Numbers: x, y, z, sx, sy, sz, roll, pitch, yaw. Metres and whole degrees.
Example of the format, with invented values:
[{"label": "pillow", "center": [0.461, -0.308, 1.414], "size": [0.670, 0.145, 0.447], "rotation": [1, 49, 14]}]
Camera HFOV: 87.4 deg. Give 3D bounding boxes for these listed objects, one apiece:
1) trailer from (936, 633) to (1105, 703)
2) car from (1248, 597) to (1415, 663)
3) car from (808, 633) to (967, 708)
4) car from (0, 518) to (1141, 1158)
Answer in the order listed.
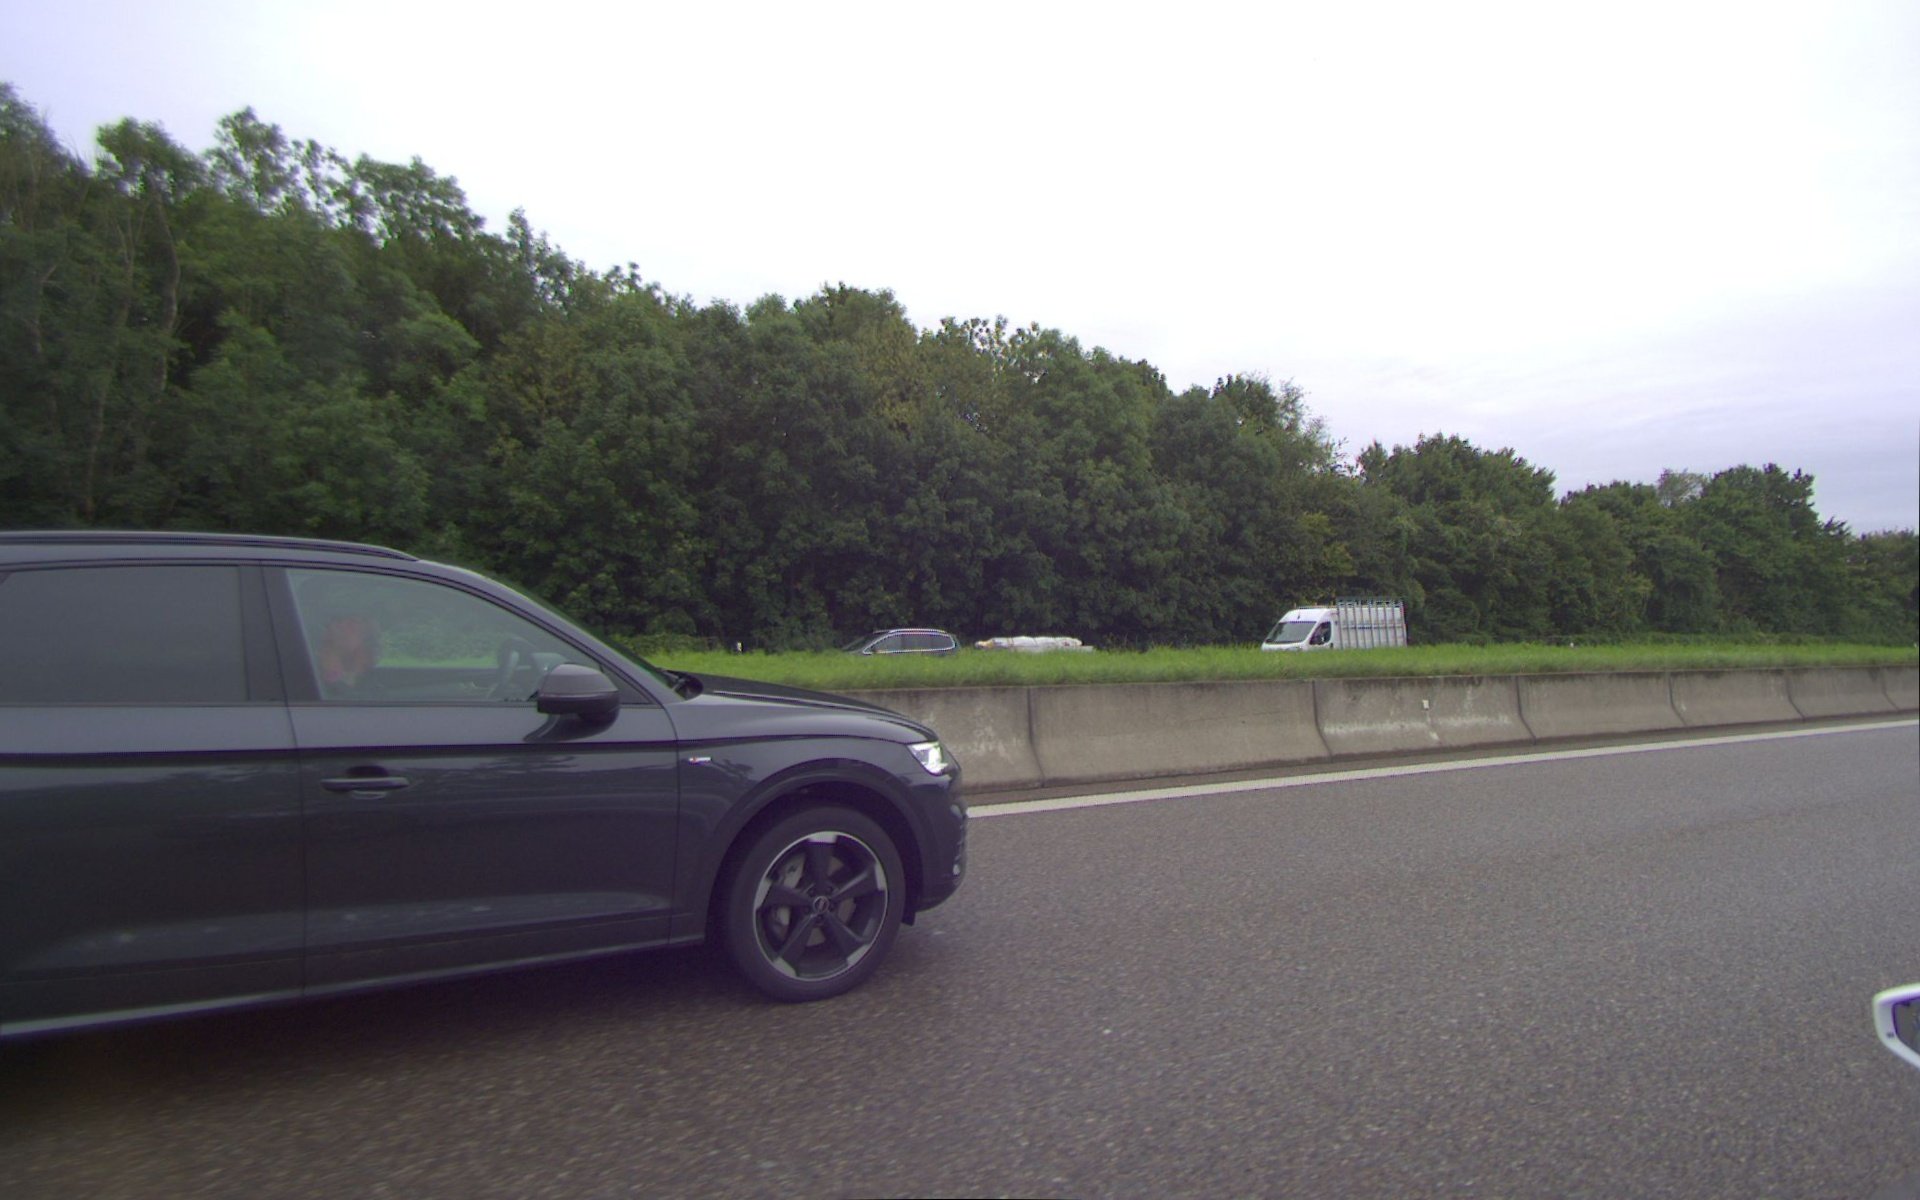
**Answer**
[{"label": "trailer", "center": [1.973, 2.142, 32.360], "size": [5.112, 2.040, 1.985], "rotation": [2, 0, -28]}, {"label": "car", "center": [13.056, 1.058, 35.143], "size": [5.996, 2.112, 2.185], "rotation": [2, 0, -31]}, {"label": "car", "center": [-2.160, 2.073, 30.109], "size": [4.314, 2.040, 1.984], "rotation": [2, 0, -30]}, {"label": "car", "center": [-1.890, 0.627, 4.002], "size": [5.063, 1.621, 1.984], "rotation": [2, 0, -30]}]
